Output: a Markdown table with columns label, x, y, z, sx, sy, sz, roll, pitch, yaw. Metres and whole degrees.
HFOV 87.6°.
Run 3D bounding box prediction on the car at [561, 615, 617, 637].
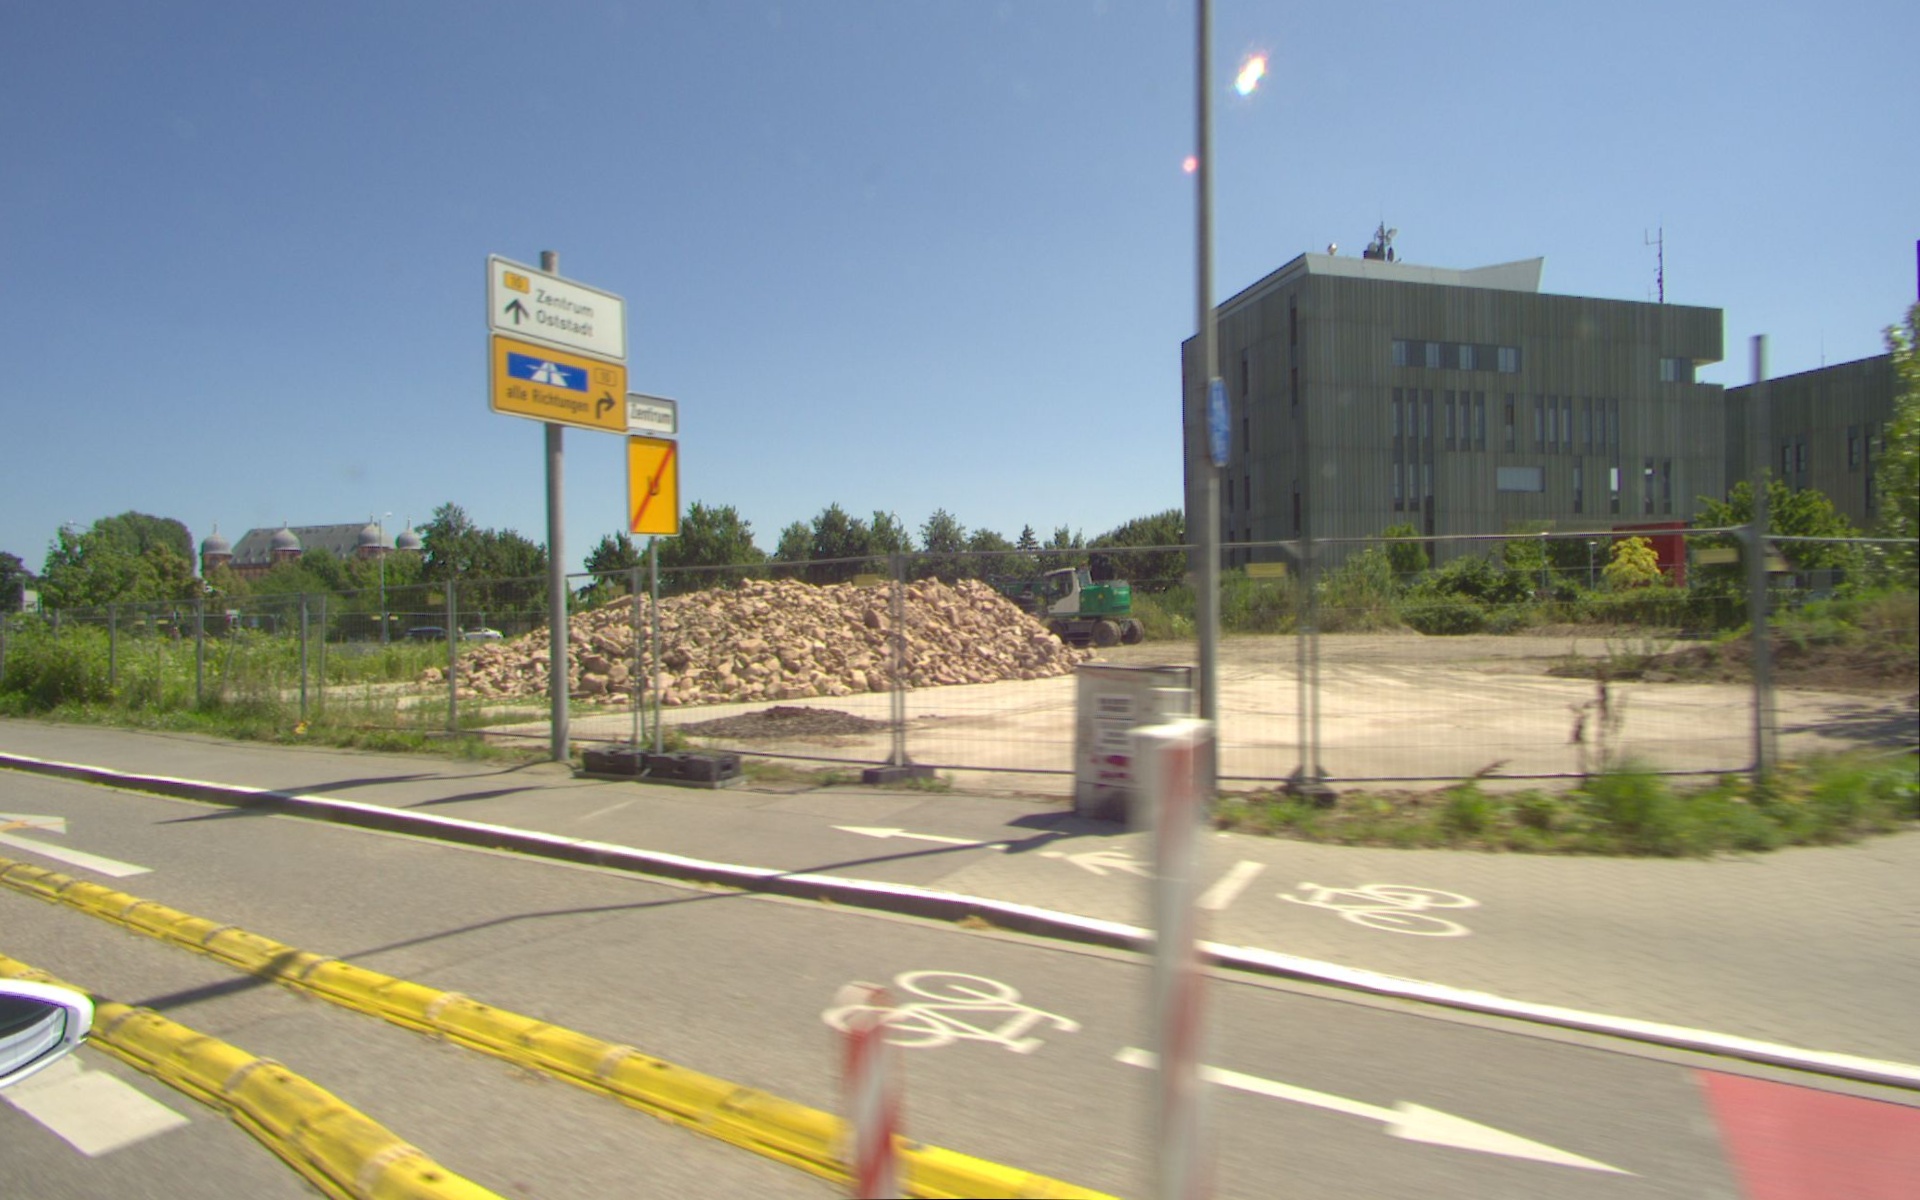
| label | x | y | z | sx | sy | sz | roll | pitch | yaw |
| --- | --- | --- | --- | --- | --- | --- | --- | --- | --- |
| car | -29.865 | 2.068 | 80.772 | 3.984 | 1.639 | 1.840 | -1 | 0 | -12 |

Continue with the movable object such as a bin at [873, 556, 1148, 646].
| label | x | y | z | sx | sy | sz | roll | pitch | yaw |
| --- | --- | --- | --- | --- | --- | --- | --- | --- | --- |
| movable object such as a bin | 2.018 | 0.157 | 41.521 | 10.316 | 3.303 | 4.931 | -2 | 0 | 31 |
